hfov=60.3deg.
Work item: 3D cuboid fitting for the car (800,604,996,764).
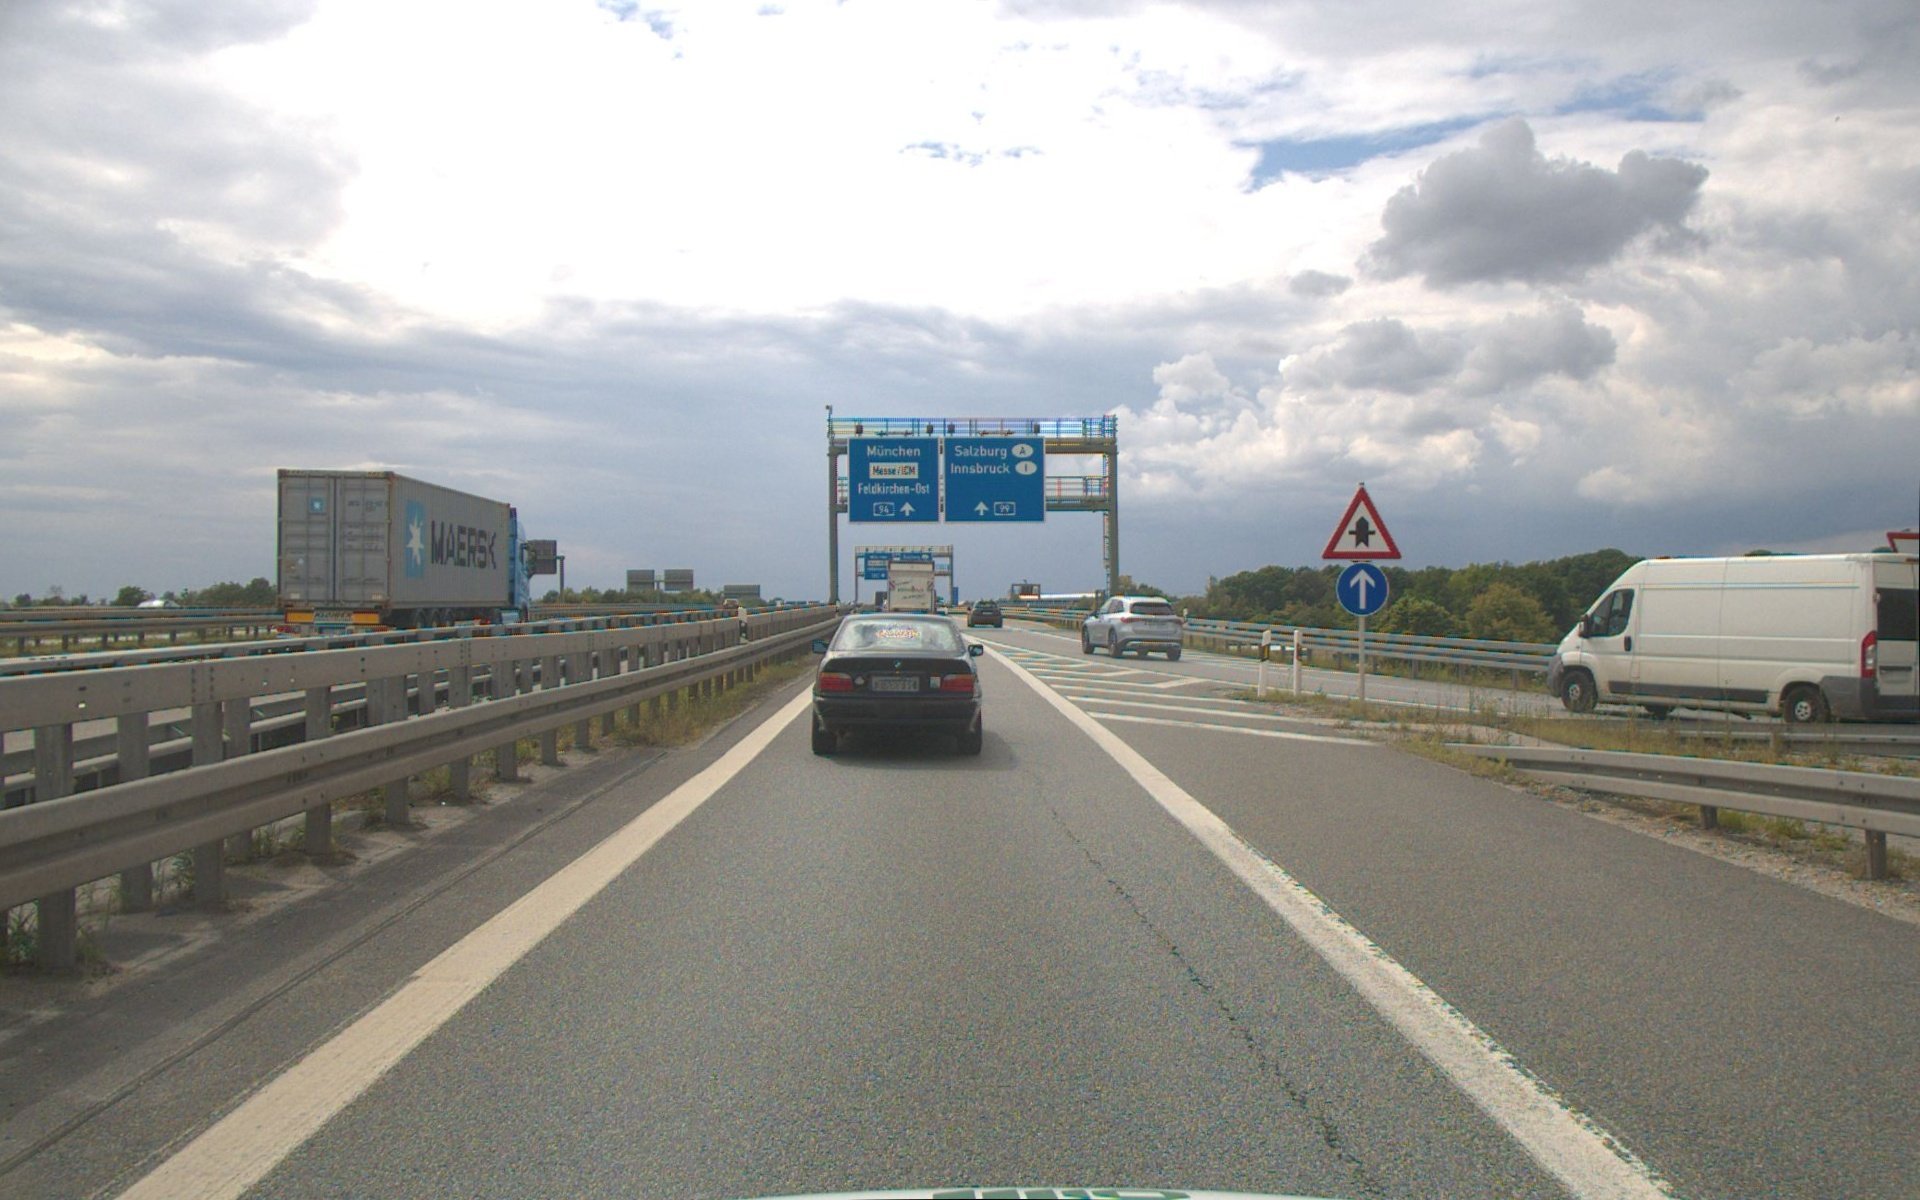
[{"bbox_3d":[-0.618,0.765,16.986,1.746,1.402,4.135,1,0,-2],"label":"car"}]

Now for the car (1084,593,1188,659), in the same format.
[{"bbox_3d":[4.728,0.659,44.964,1.899,1.714,4.202,0,0,-7],"label":"car"}]

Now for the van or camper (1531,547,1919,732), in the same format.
[{"bbox_3d":[11.535,0.503,24.577,2.198,2.402,5.887,1,0,-27],"label":"van or camper"}]

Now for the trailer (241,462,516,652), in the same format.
[{"bbox_3d":[-14.041,-0.915,41.430,3.172,3.993,12.371,1,0,-4],"label":"trailer"}]

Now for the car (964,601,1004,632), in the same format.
[{"bbox_3d":[1.248,0.864,88.827,1.953,1.579,3.999,1,0,-1],"label":"car"}]

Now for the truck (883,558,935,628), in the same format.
[{"bbox_3d":[-2.409,-0.340,78.491,2.355,3.144,6.368,1,0,-2],"label":"truck"}]

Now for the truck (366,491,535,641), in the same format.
[{"bbox_3d":[-14.461,-0.915,47.509,3.183,3.980,6.604,1,0,-4],"label":"truck"}]

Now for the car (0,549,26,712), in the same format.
[{"bbox_3d":[-12.482,0.368,18.011,1.960,1.972,5.128,0,0,-4],"label":"car"}]

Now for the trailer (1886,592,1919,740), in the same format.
[{"bbox_3d":[13.948,0.916,19.954,1.972,1.873,4.464,1,1,-29],"label":"trailer"}]

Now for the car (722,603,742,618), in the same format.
[{"bbox_3d":[-25.377,1.121,184.205,1.855,1.625,4.413,0,0,-5],"label":"car"}]
